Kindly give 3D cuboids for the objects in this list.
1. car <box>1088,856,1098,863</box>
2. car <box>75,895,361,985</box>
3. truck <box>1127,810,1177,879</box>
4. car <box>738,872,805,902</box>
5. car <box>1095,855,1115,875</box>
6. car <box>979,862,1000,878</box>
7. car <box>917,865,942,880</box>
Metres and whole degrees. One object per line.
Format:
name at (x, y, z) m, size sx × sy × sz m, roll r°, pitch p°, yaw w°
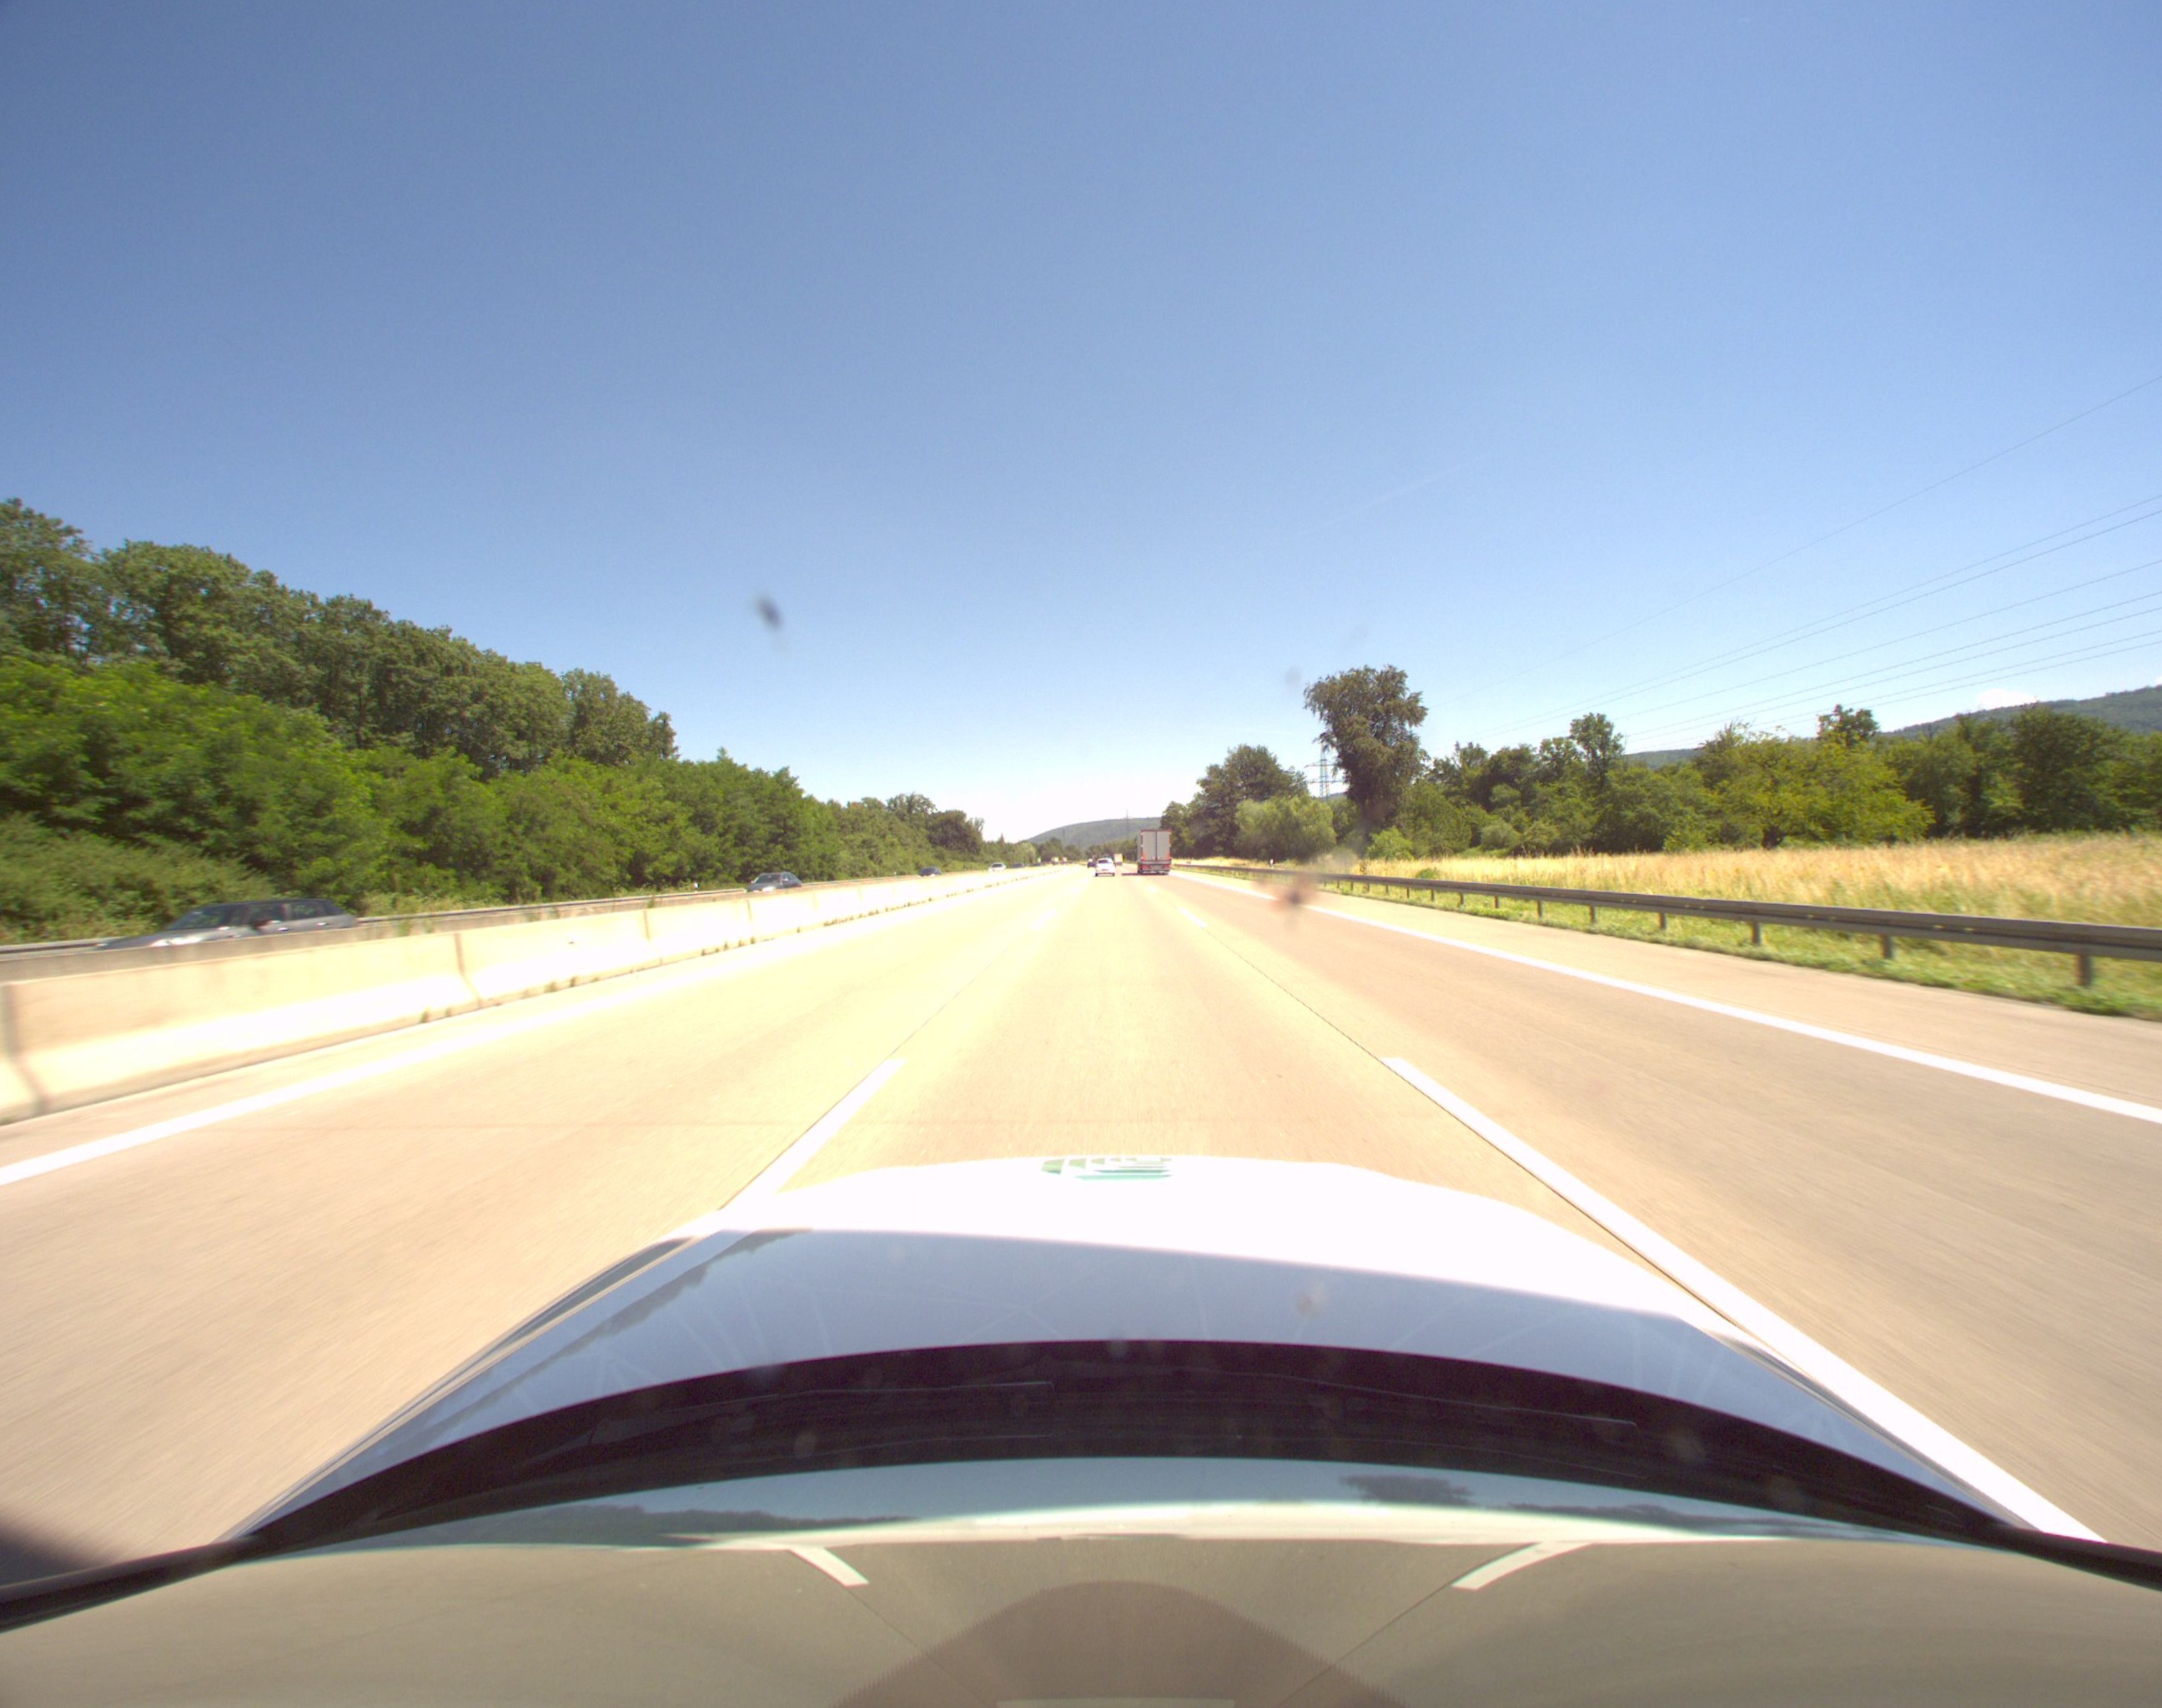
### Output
car at (2.611, 1.202, 178.066) m, size 2.016 × 1.700 × 3.998 m, roll 0°, pitch -1°, yaw -1°
car at (-16.351, 1.564, 15.726) m, size 1.559 × 1.319 × 3.633 m, roll -2°, pitch 0°, yaw 2°
truck at (6.564, -0.797, 78.538) m, size 3.564 × 5.787 × 18.251 m, roll -1°, pitch 0°, yaw 1°
car at (-15.579, 1.640, 41.269) m, size 1.559 × 1.319 × 4.374 m, roll -2°, pitch 0°, yaw 2°
car at (2.108, 0.912, 70.485) m, size 1.635 × 1.662 × 3.362 m, roll 0°, pitch 0°, yaw 2°
car at (-10.470, 1.768, 93.684) m, size 1.702 × 1.678 × 4.930 m, roll -3°, pitch 0°, yaw 2°
car at (-14.204, 1.745, 76.611) m, size 1.560 × 1.319 × 3.633 m, roll -2°, pitch 0°, yaw 1°
